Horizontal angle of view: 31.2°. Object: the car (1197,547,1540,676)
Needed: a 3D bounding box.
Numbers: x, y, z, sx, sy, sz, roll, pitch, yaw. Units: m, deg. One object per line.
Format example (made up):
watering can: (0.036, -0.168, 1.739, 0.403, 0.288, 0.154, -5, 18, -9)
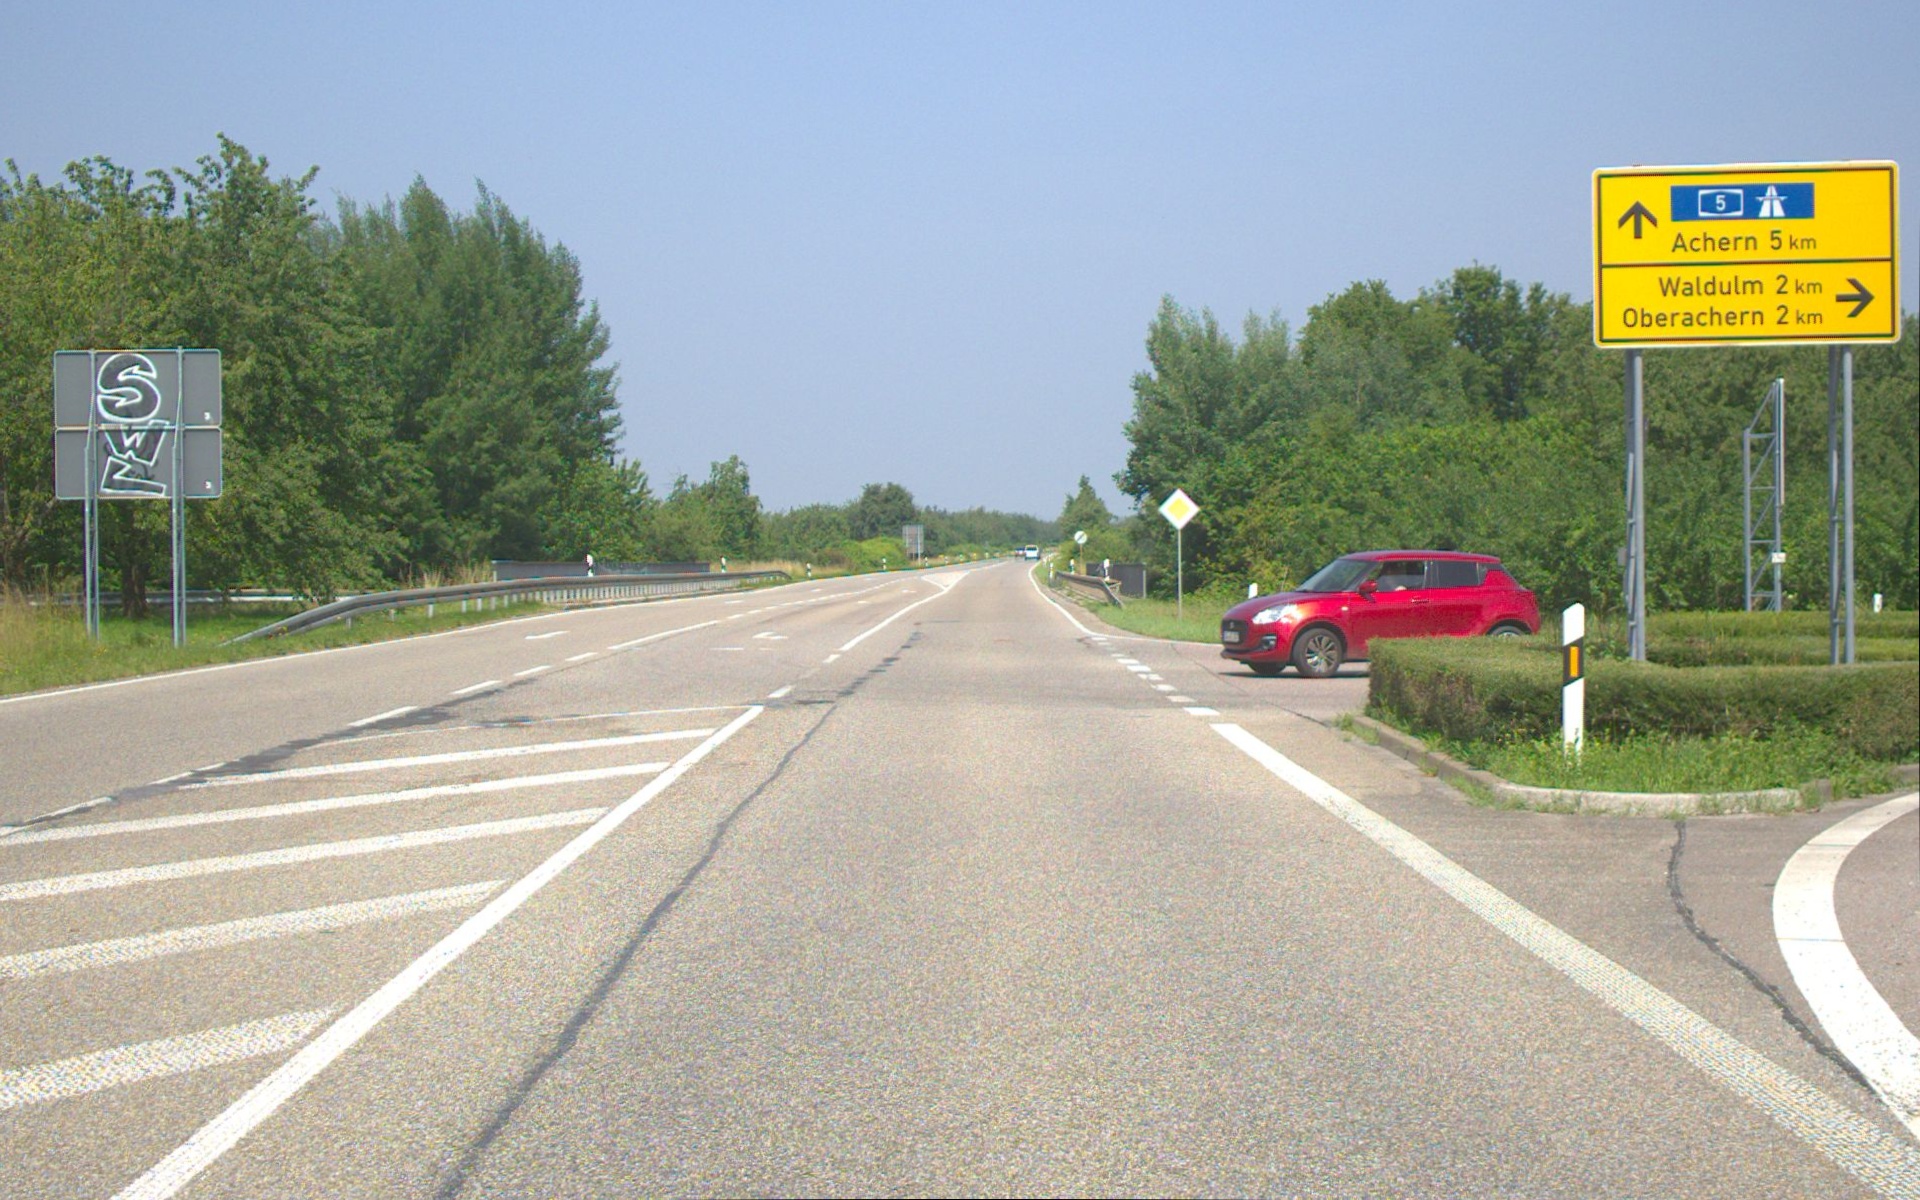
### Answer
car: (4.930, 0.139, 41.582, 3.739, 1.487, 1.672, 1, 1, -17)
